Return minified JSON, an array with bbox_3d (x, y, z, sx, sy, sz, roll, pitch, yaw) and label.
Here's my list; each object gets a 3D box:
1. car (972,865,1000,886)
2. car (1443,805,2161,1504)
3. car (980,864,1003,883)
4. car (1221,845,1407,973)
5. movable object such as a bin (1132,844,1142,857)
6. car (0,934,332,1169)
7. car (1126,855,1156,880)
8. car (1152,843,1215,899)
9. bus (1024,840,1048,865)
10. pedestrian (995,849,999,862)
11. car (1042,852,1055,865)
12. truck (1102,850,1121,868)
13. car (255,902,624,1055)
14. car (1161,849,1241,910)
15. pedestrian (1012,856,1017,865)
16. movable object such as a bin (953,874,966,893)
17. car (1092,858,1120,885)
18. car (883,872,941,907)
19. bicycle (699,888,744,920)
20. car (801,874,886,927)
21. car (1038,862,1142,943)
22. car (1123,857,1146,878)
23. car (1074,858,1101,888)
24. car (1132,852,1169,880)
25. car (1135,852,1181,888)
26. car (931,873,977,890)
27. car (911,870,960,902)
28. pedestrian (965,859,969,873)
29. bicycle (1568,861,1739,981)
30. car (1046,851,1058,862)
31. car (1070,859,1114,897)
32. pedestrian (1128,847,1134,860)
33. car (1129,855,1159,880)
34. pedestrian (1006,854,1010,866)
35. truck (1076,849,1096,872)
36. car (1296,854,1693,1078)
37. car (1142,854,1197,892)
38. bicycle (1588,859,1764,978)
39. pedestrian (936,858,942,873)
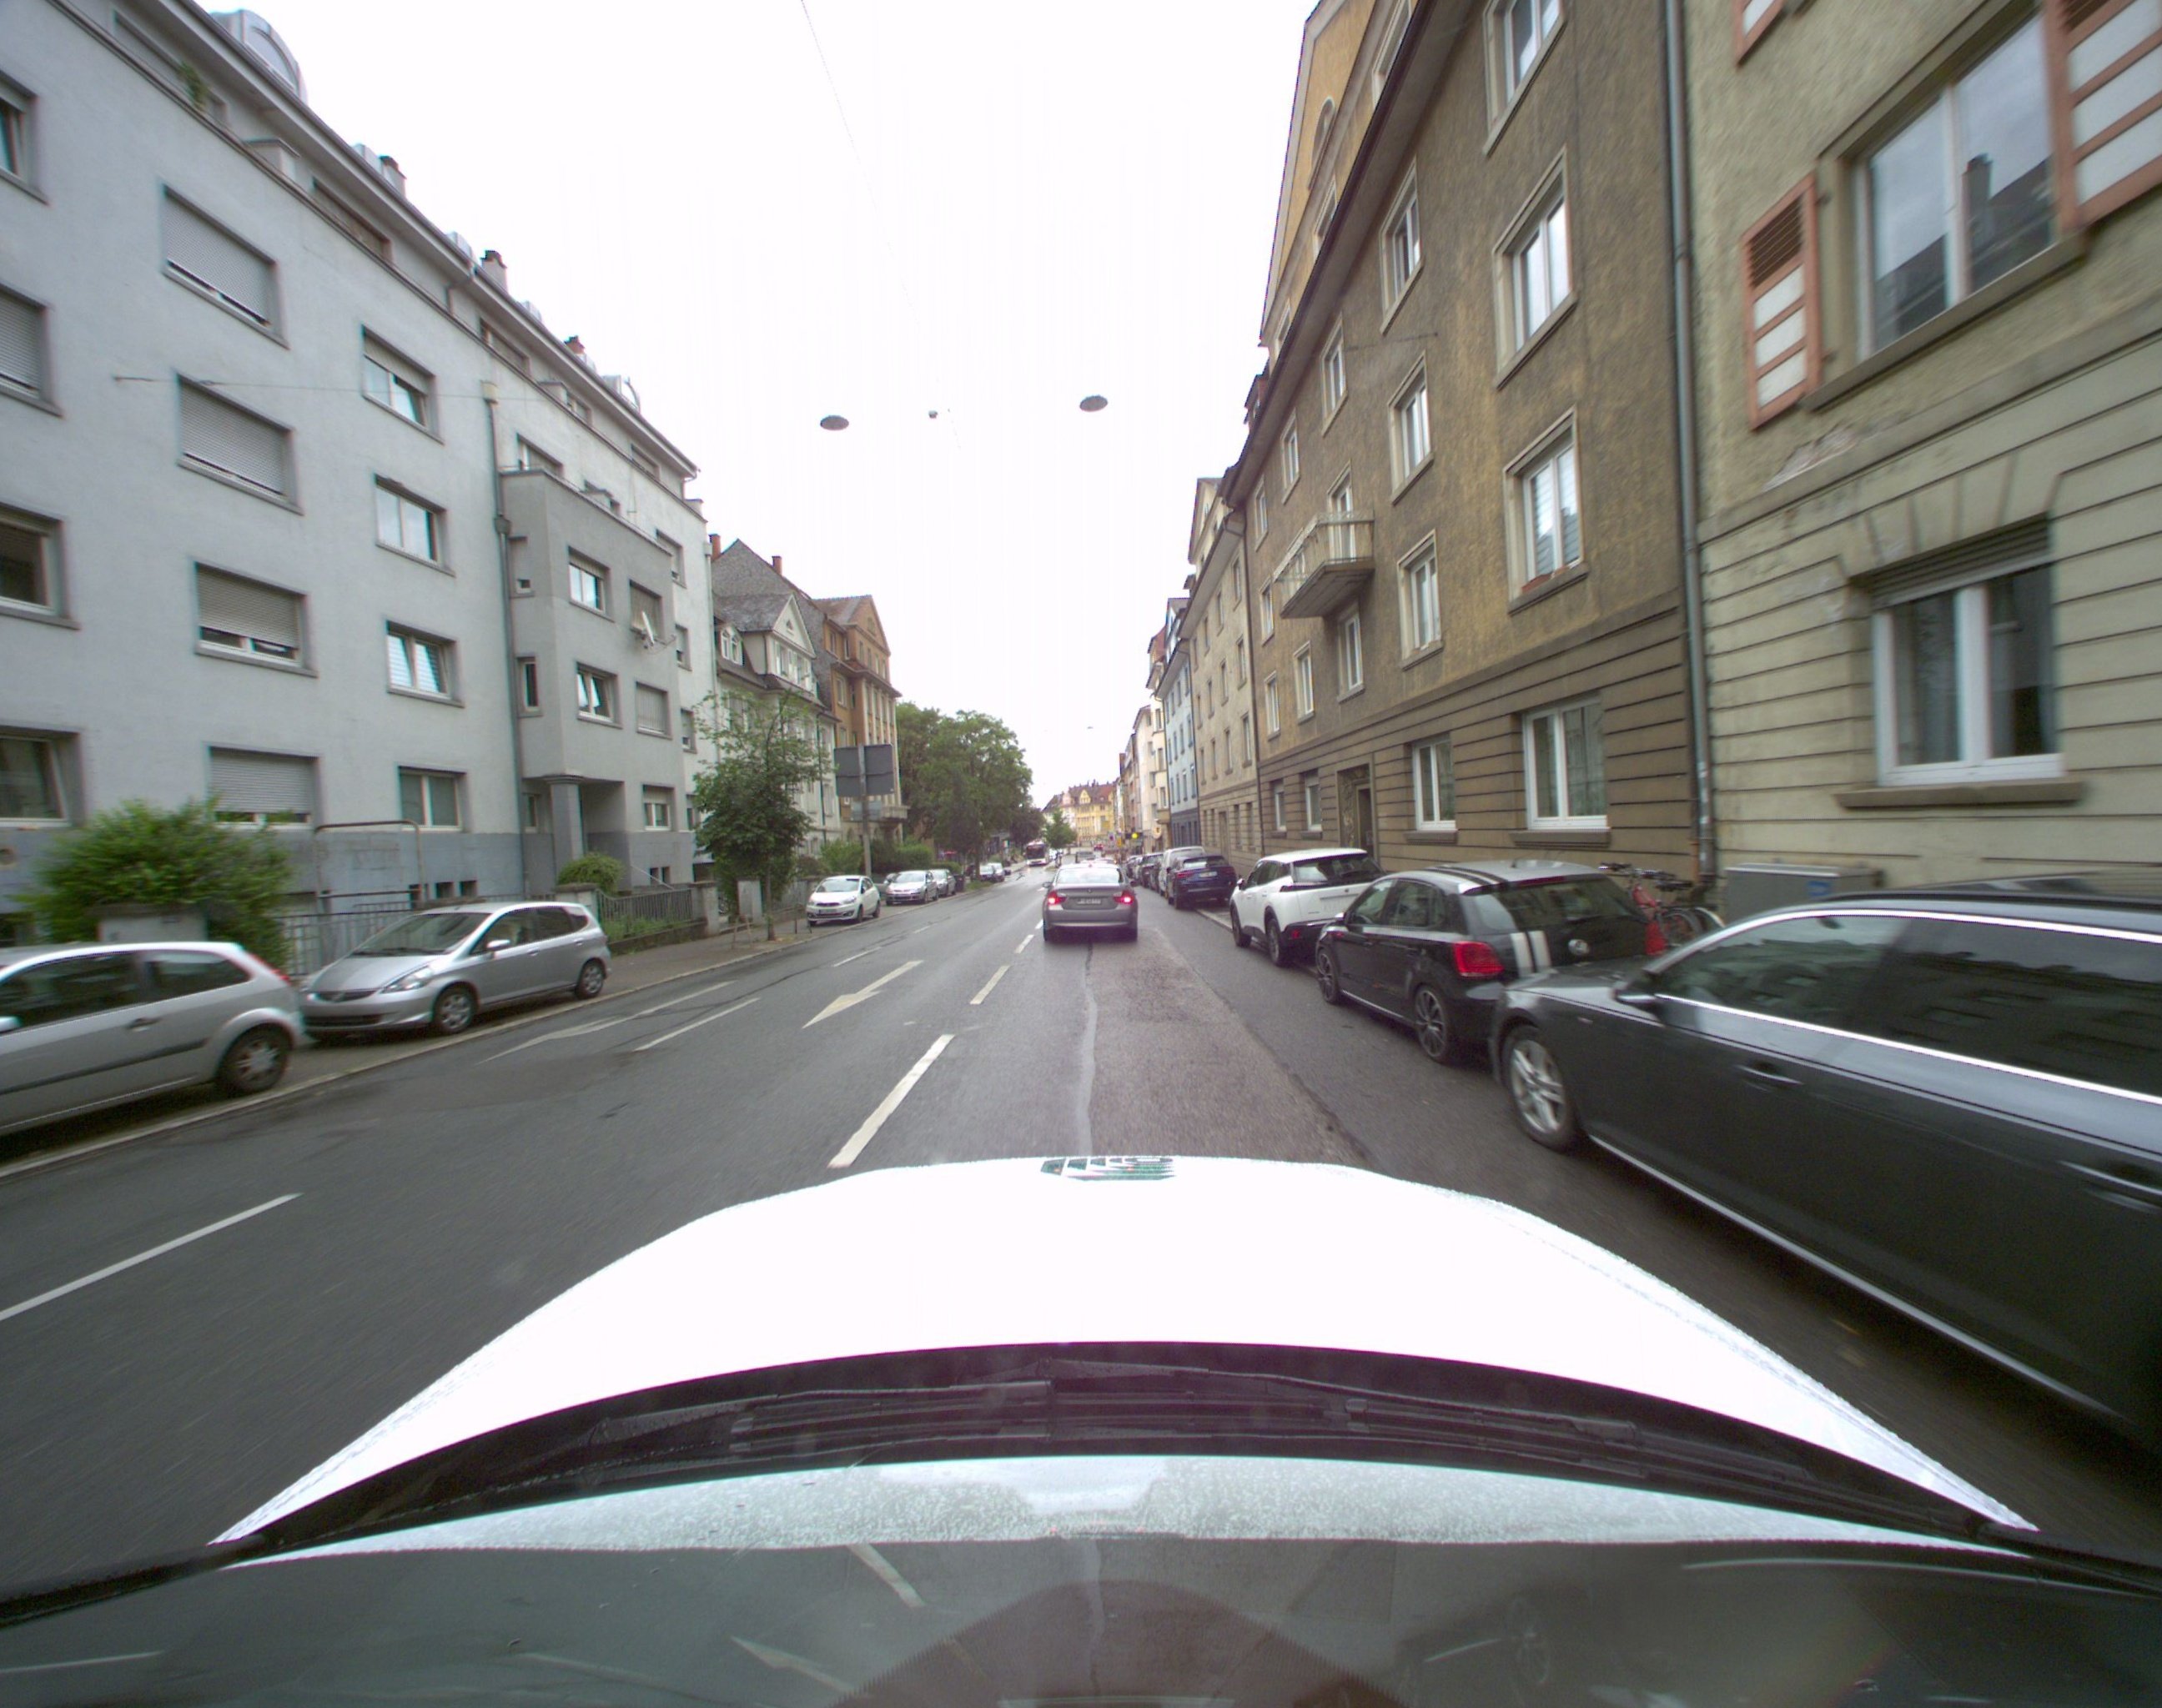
[{"bbox_3d":[-7.231,1.610,62.038,1.649,1.454,3.940,-3,0,-1],"label":"car"},{"bbox_3d":[3.146,0.606,2.749,1.771,1.479,4.587,-3,-1,1],"label":"car"},{"bbox_3d":[-7.280,1.583,66.507,1.628,1.454,3.835,-3,0,-3],"label":"car"},{"bbox_3d":[3.375,0.728,12.624,1.627,1.638,4.193,0,-1,-1],"label":"car"},{"bbox_3d":[7.485,-0.433,109.291,1.119,1.702,1.433,-4,-1,-2],"label":"movable object such as a bin"},{"bbox_3d":[-8.107,1.472,5.971,1.595,1.396,3.886,-3,-1,0],"label":"car"},{"bbox_3d":[4.325,0.967,58.854,1.811,1.557,4.294,-5,0,1],"label":"car"},{"bbox_3d":[3.792,0.608,30.874,1.785,1.817,4.080,-5,0,0],"label":"car"},{"bbox_3d":[-6.309,-0.145,115.647,2.672,3.201,11.952,0,-1,0],"label":"bus"},{"bbox_3d":[-11.745,0.199,113.313,0.542,1.790,0.507,0,-2,-8],"label":"pedestrian"},{"bbox_3d":[-5.438,0.808,136.085,1.987,2.014,3.998,-1,-1,0],"label":"car"},{"bbox_3d":[3.823,0.639,102.321,2.208,2.117,4.651,1,-1,0],"label":"truck"},{"bbox_3d":[-8.138,1.480,10.865,1.593,1.451,3.892,-3,-1,4],"label":"car"},{"bbox_3d":[3.514,0.708,24.608,1.784,1.548,4.226,-5,0,1],"label":"car"},{"bbox_3d":[-10.265,0.980,125.518,0.617,1.378,0.545,0,-2,1],"label":"pedestrian"},{"bbox_3d":[-7.132,1.749,47.754,0.627,1.058,0.600,-3,-1,1],"label":"movable object such as a bin"},{"bbox_3d":[1.362,0.939,43.529,1.430,1.357,3.763,0,-1,2],"label":"car"},{"bbox_3d":[-7.571,1.574,36.808,1.676,1.390,3.910,-2,-1,1],"label":"car"},{"bbox_3d":[-13.472,1.855,30.518,1.416,1.089,0.484,-3,-1,0],"label":"bicycle"},{"bbox_3d":[-7.683,1.467,26.638,1.641,1.508,3.795,-3,-1,-1],"label":"car"},{"bbox_3d":[0.174,0.870,15.641,1.750,1.362,3.164,-2,-1,0],"label":"car"},{"bbox_3d":[4.269,1.048,65.400,1.564,1.464,4.090,-5,0,1],"label":"car"},{"bbox_3d":[0.418,1.357,57.090,1.700,2.014,3.997,0,-1,-2],"label":"car"},{"bbox_3d":[4.064,0.673,48.237,1.723,1.429,3.973,-6,0,0],"label":"car"},{"bbox_3d":[3.846,0.795,41.424,1.835,1.621,4.207,-4,-1,0],"label":"car"},{"bbox_3d":[-11.577,2.487,74.345,3.804,1.390,1.742,-2,-1,-1],"label":"car"},{"bbox_3d":[-7.581,1.638,42.759,1.677,1.390,3.937,-4,-1,1],"label":"car"},{"bbox_3d":[-14.544,1.485,103.621,0.464,1.790,0.543,0,-2,-6],"label":"pedestrian"},{"bbox_3d":[5.865,0.636,8.503,0.246,1.073,2.107,-5,-1,1],"label":"bicycle"},{"bbox_3d":[-5.392,0.491,152.011,1.987,2.014,3.999,0,-1,0],"label":"car"},{"bbox_3d":[0.393,0.933,32.539,1.597,1.420,3.285,0,-1,-2],"label":"car"},{"bbox_3d":[6.574,-0.079,107.207,0.746,1.661,0.755,0,-2,5],"label":"pedestrian"},{"bbox_3d":[4.026,0.843,52.770,1.578,1.429,3.595,-6,0,0],"label":"car"},{"bbox_3d":[-9.800,0.827,109.792,0.542,1.709,0.465,0,-2,-6],"label":"pedestrian"},{"bbox_3d":[0.531,0.760,89.950,2.210,2.544,4.778,0,-1,0],"label":"truck"},{"bbox_3d":[3.258,0.763,7.309,1.627,1.479,3.733,0,-1,-1],"label":"car"},{"bbox_3d":[3.862,0.803,36.089,1.835,1.409,4.386,-5,0,0],"label":"car"},{"bbox_3d":[6.113,0.615,8.529,0.246,1.073,2.107,-5,-1,1],"label":"bicycle"},{"bbox_3d":[-16.983,1.404,97.583,0.633,1.816,0.636,-3,0,-9],"label":"pedestrian"}]
